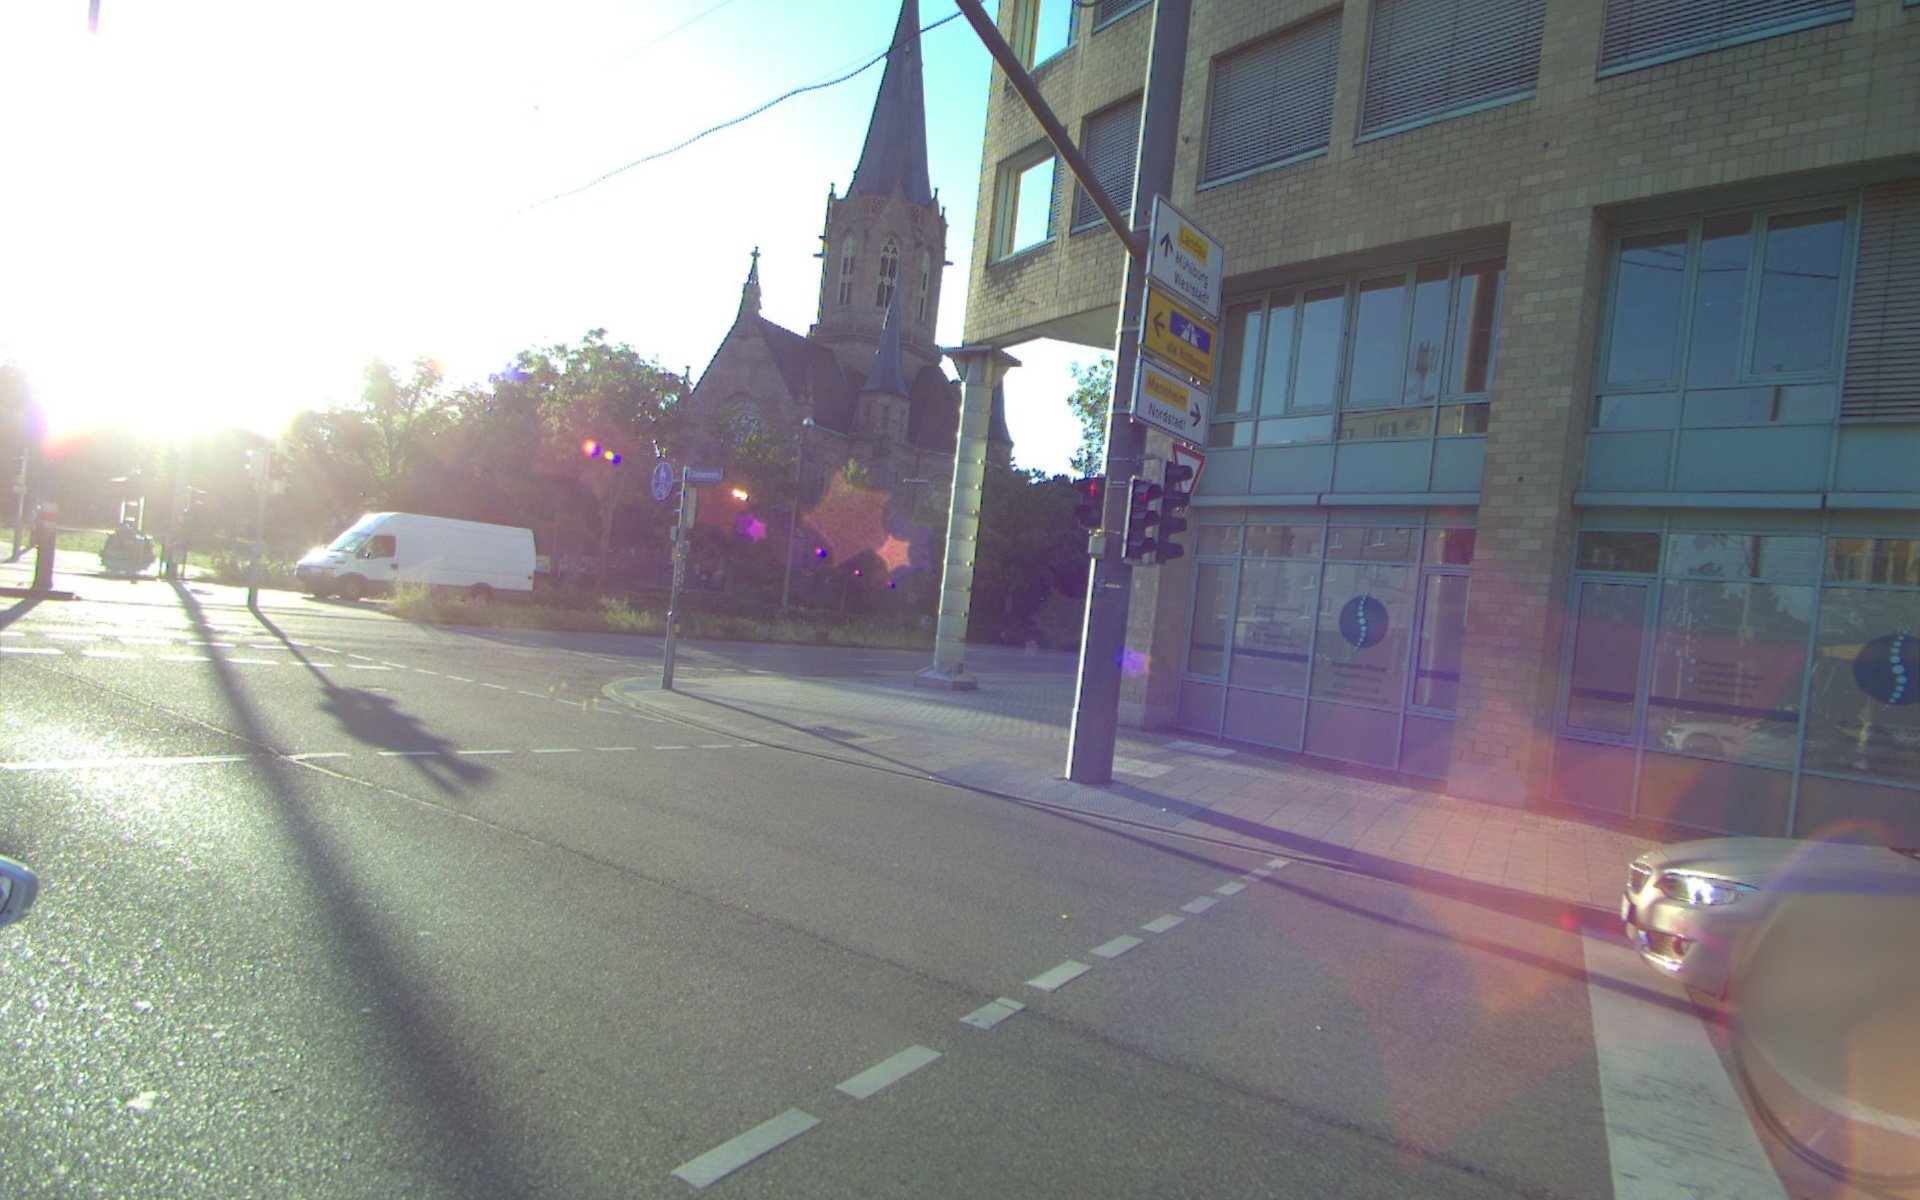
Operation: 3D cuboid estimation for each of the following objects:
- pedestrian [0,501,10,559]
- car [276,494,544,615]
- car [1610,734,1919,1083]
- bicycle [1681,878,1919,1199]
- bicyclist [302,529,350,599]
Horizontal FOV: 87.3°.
[{"bbox_3d":[-31.071,-2.281,32.181,0.830,1.825,0.801,6,1,-43],"label":"pedestrian"},{"bbox_3d":[-16.859,-1.281,31.398,2.059,2.862,7.018,6,-1,33],"label":"car"},{"bbox_3d":[5.731,1.693,4.882,4.158,1.401,1.746,6,-2,32],"label":"car"},{"bbox_3d":[3.512,1.588,3.207,1.838,0.884,0.634,6,0,30],"label":"bicycle"},{"bbox_3d":[-19.595,-1.112,31.097,0.711,2.038,0.899,7,0,37],"label":"bicyclist"}]
